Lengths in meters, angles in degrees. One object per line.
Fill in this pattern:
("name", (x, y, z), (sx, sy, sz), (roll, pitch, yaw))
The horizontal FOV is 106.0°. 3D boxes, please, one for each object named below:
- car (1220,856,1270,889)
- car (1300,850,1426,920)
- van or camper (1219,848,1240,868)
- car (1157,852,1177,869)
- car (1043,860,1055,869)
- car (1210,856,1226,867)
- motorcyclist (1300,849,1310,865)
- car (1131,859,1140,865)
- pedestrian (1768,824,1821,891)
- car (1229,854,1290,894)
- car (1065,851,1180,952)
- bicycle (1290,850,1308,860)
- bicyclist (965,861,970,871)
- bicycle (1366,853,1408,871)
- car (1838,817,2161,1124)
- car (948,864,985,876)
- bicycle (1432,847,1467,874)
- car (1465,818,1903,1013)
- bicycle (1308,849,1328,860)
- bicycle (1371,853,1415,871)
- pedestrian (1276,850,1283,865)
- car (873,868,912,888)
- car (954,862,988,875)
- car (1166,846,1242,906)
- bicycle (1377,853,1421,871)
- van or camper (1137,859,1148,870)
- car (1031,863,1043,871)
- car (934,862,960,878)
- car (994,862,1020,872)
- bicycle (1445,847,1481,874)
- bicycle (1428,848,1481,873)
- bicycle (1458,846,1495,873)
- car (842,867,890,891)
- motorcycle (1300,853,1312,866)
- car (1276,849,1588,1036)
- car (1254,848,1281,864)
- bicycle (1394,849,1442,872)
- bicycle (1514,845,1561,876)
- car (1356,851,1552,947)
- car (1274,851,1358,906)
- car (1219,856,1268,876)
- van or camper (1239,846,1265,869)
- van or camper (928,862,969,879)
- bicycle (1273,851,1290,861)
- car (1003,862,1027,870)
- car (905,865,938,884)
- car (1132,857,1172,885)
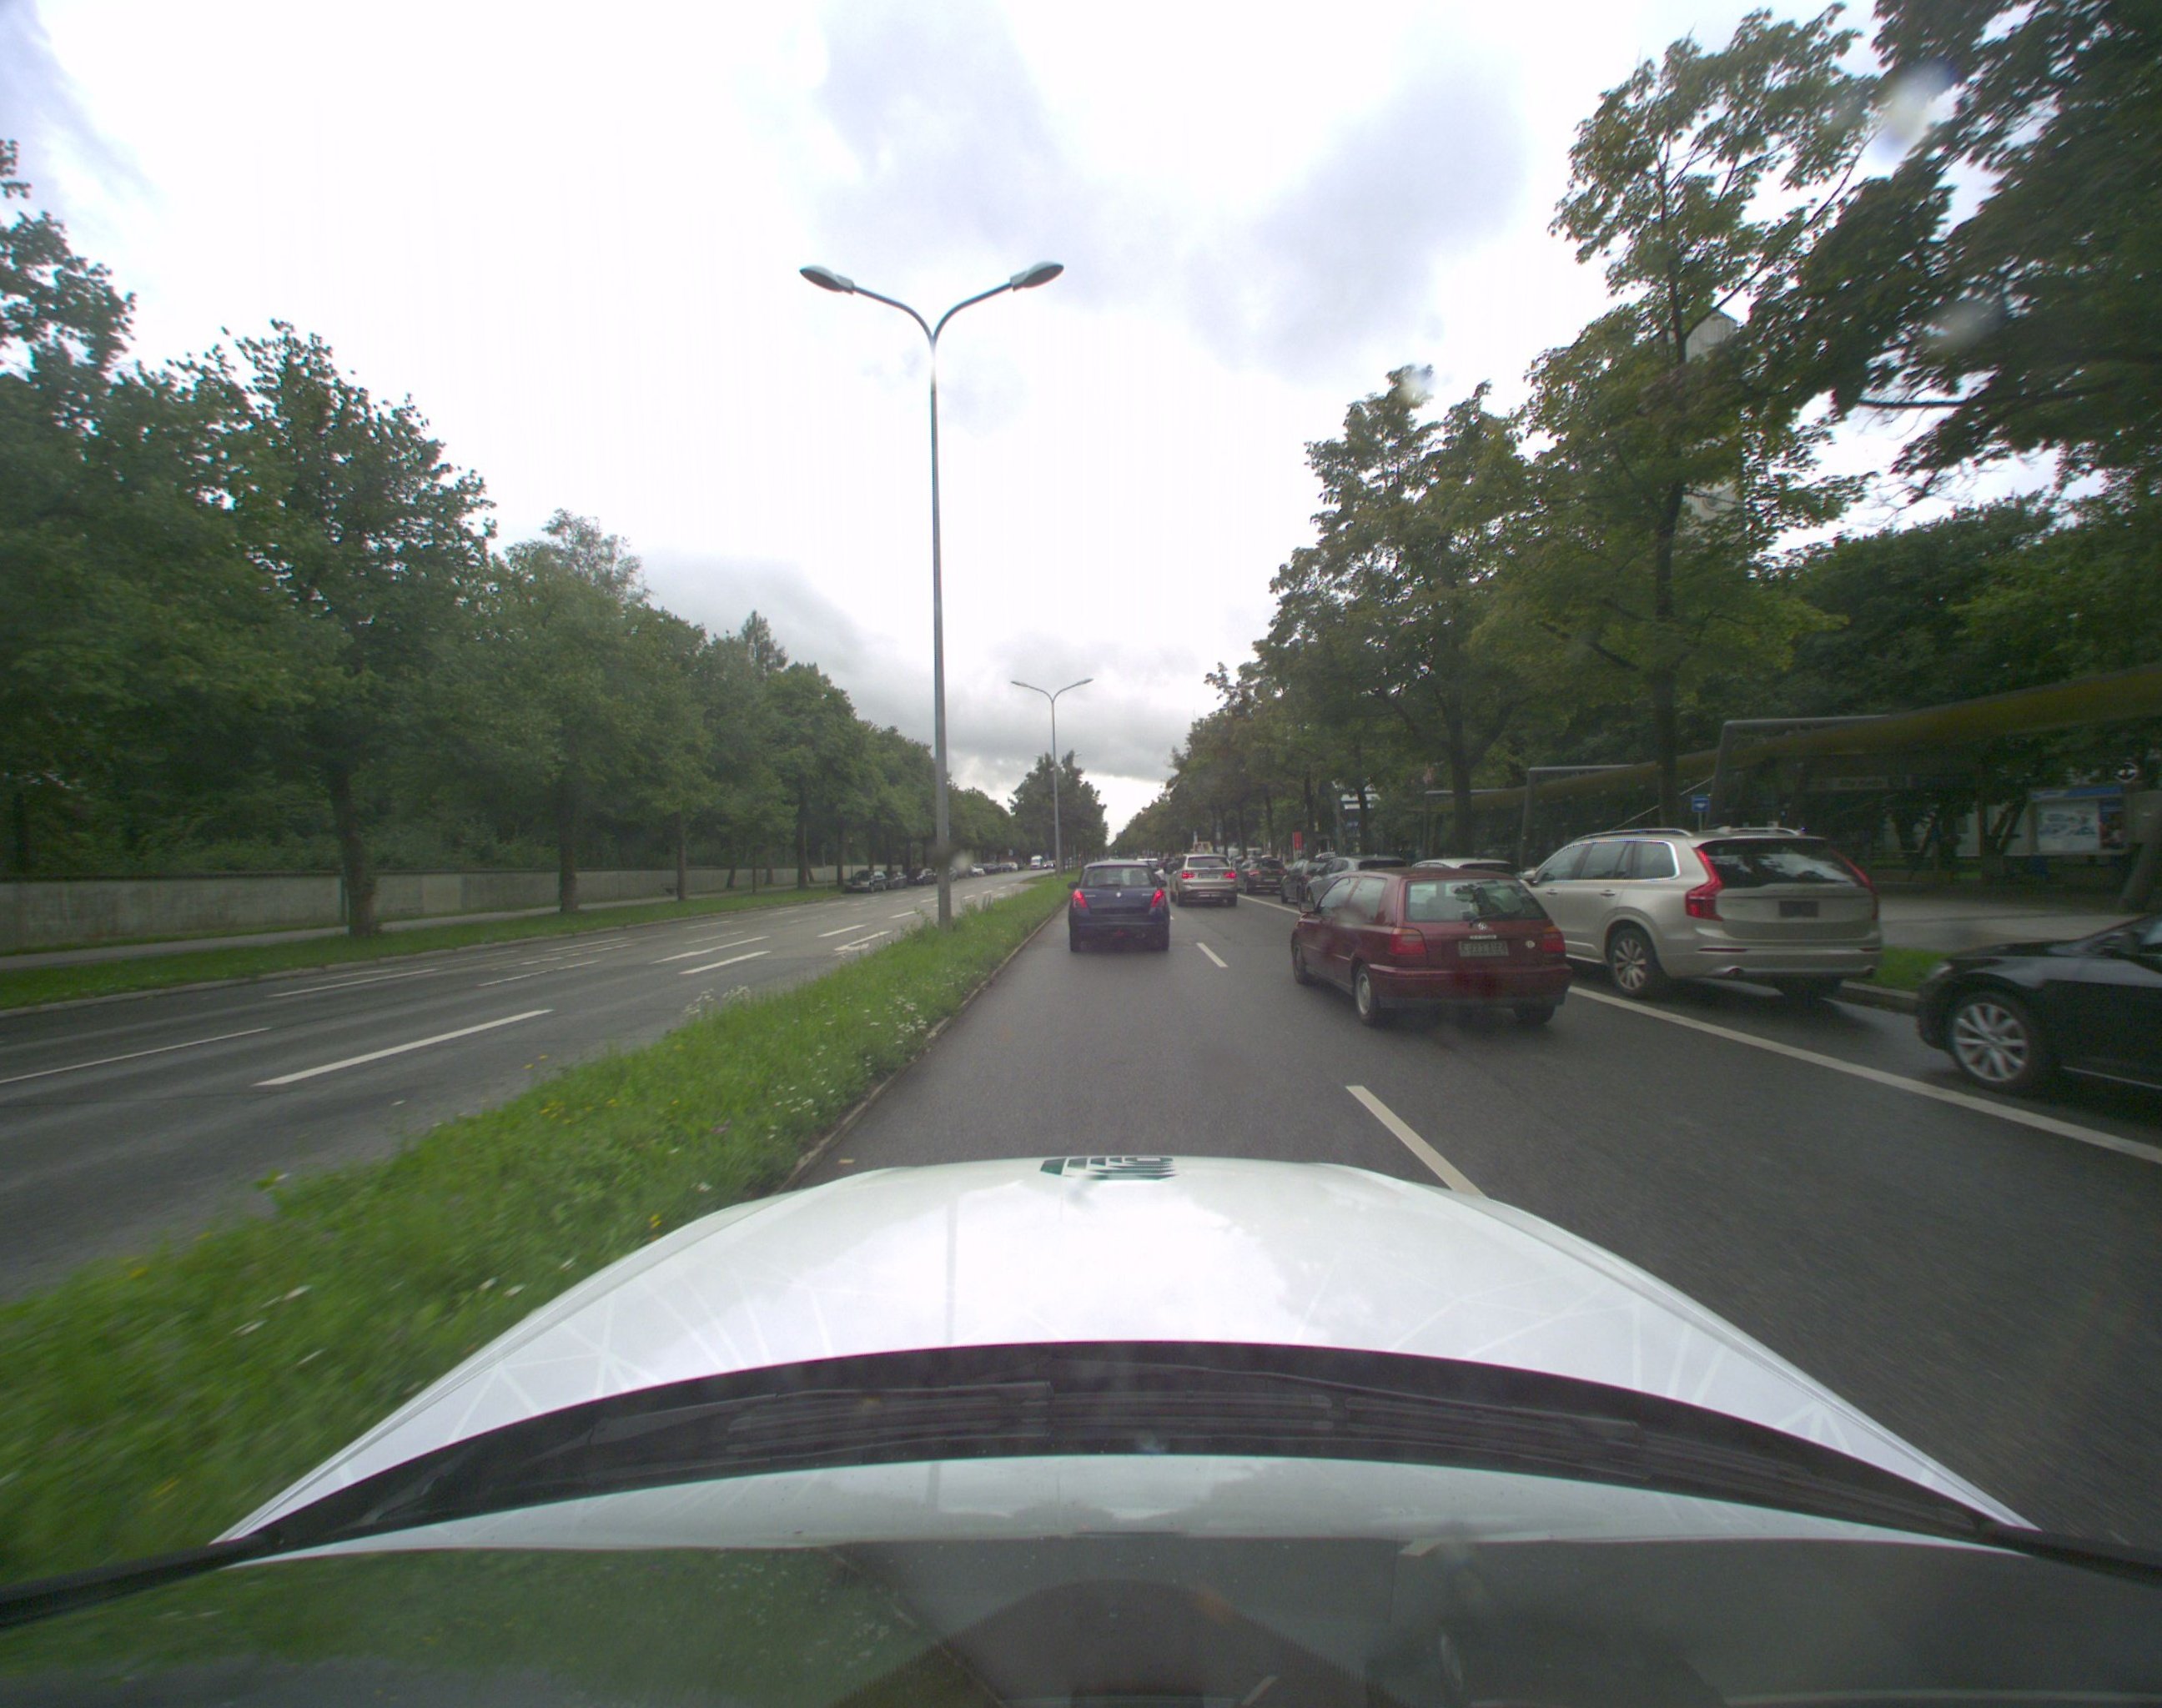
("car", (7.708, 0.848, 38.511), (1.628, 1.453, 4.080), (-2, -1, 2))
("car", (6.844, 0.699, 20.262), (1.714, 1.534, 4.401), (-1, 0, 2))
("van or camper", (20.363, 0.534, 111.862), (2.016, 2.558, 5.959), (-2, 0, 2))
("car", (9.095, 0.642, 86.412), (1.754, 1.701, 4.823), (-2, -1, 3))
("car", (-5.882, 1.881, 151.168), (1.907, 1.542, 4.187), (-2, 0, 0))
("car", (20.777, 1.091, 123.339), (1.678, 1.632, 4.498), (-2, -1, 0))
("motorcyclist", (25.023, 0.367, 90.857), (0.688, 1.737, 0.954), (-6, -1, 2))
("car", (12.891, 1.935, 193.992), (1.844, 1.447, 4.097), (-2, -1, 0))
("pedestrian", (16.587, 0.081, 18.936), (0.579, 1.513, 0.690), (-1, -1, -17))
("car", (7.353, 0.807, 33.891), (1.711, 1.508, 4.225), (-2, -1, 2))
("car", (0.680, 0.773, 14.964), (1.783, 1.555, 4.000), (-2, -1, 0))
("bicycle", (33.824, 0.128, 126.241), (2.605, 1.508, 0.797), (-2, -1, -5))
("bicyclist", (-19.039, 2.015, 136.329), (0.702, 1.747, 0.923), (-2, -1, 2))
("bicycle", (20.450, 0.519, 54.440), (2.532, 1.089, 0.647), (-2, -1, 1))
("car", (6.287, 0.576, 3.633), (1.739, 1.547, 4.647), (-1, 0, 4))
("car", (-13.920, 1.974, 99.066), (4.015, 1.354, 1.832), (-2, -1, -33))
("bicycle", (18.326, 0.346, 40.589), (0.642, 1.280, 2.551), (-2, -1, 2))
("car", (6.554, 0.554, 9.744), (1.740, 1.724, 4.909), (-1, 0, 2))
("bicycle", (32.997, 0.064, 113.430), (2.612, 1.508, 0.795), (-2, -1, -12))
("bicycle", (20.382, 0.515, 53.221), (2.532, 1.089, 0.647), (-2, -1, 1))
("pedestrian", (23.626, 0.464, 96.953), (0.572, 1.751, 0.733), (-2, -1, 6))
("car", (-14.032, 1.741, 60.838), (1.653, 1.396, 4.709), (-1, 0, 2))
("car", (-14.530, 1.922, 107.605), (4.127, 1.597, 1.897), (-2, -1, -37))
("car", (3.901, 0.667, 26.507), (1.844, 1.743, 4.097), (-2, -1, 0))
("bicycle", (20.348, 0.509, 52.151), (2.532, 1.089, 0.647), (-2, -1, 1))
("van or camper", (11.741, 1.929, 155.608), (1.936, 1.975, 4.309), (-2, -1, 3))
("car", (-8.642, 2.493, 160.412), (1.907, 1.542, 4.187), (-2, 0, 0))
("car", (-13.388, 1.575, 81.576), (1.629, 1.439, 4.812), (-1, 0, 3))
("car", (-13.003, 2.340, 142.910), (4.122, 1.585, 1.900), (-2, -1, -32))
("bicycle", (19.000, 0.340, 40.597), (0.642, 1.280, 2.551), (-2, -1, 2))
("bicycle", (20.353, 0.337, 44.382), (2.532, 1.280, 0.647), (-2, -1, 1))
("bicycle", (19.668, 0.283, 40.596), (0.642, 1.280, 2.551), (-2, -1, 2))
("car", (-14.429, 1.651, 54.944), (1.792, 1.490, 4.917), (-1, 0, 2))
("motorcycle", (25.036, 0.602, 90.598), (0.693, 1.290, 2.067), (-6, -1, 2))
("car", (3.290, 0.729, 8.518), (1.616, 1.454, 3.951), (-2, -1, 1))
("car", (19.850, 0.228, 86.747), (1.986, 1.651, 4.002), (-2, 0, 2))
("bicycle", (20.082, 0.386, 48.572), (2.532, 1.280, 0.647), (-2, -1, 1))
("bicycle", (19.709, 0.265, 35.242), (0.642, 1.280, 2.551), (-2, -1, 2))
("car", (6.837, 0.748, 15.526), (1.696, 1.508, 4.504), (-2, -1, 1))
("car", (7.265, 0.712, 25.496), (1.536, 1.534, 4.092), (1, 0, 2))
("car", (13.783, 0.991, 68.687), (1.948, 1.625, 4.877), (-2, -1, 39))
("van or camper", (19.975, 0.407, 95.206), (1.986, 2.558, 5.959), (-2, 0, 2))
("van or camper", (-14.923, 1.851, 92.029), (4.146, 1.854, 1.829), (-1, -1, -39))
("bicycle", (33.281, 0.307, 135.075), (2.605, 1.508, 0.797), (-2, -1, -5))
("car", (-12.304, 2.214, 152.170), (4.122, 1.474, 1.688), (0, -1, -32))
("car", (-13.548, 1.726, 69.257), (1.563, 1.503, 4.310), (-1, 0, 6))
("car", (3.942, 0.901, 45.697), (1.844, 1.447, 4.097), (-2, -1, 0))
